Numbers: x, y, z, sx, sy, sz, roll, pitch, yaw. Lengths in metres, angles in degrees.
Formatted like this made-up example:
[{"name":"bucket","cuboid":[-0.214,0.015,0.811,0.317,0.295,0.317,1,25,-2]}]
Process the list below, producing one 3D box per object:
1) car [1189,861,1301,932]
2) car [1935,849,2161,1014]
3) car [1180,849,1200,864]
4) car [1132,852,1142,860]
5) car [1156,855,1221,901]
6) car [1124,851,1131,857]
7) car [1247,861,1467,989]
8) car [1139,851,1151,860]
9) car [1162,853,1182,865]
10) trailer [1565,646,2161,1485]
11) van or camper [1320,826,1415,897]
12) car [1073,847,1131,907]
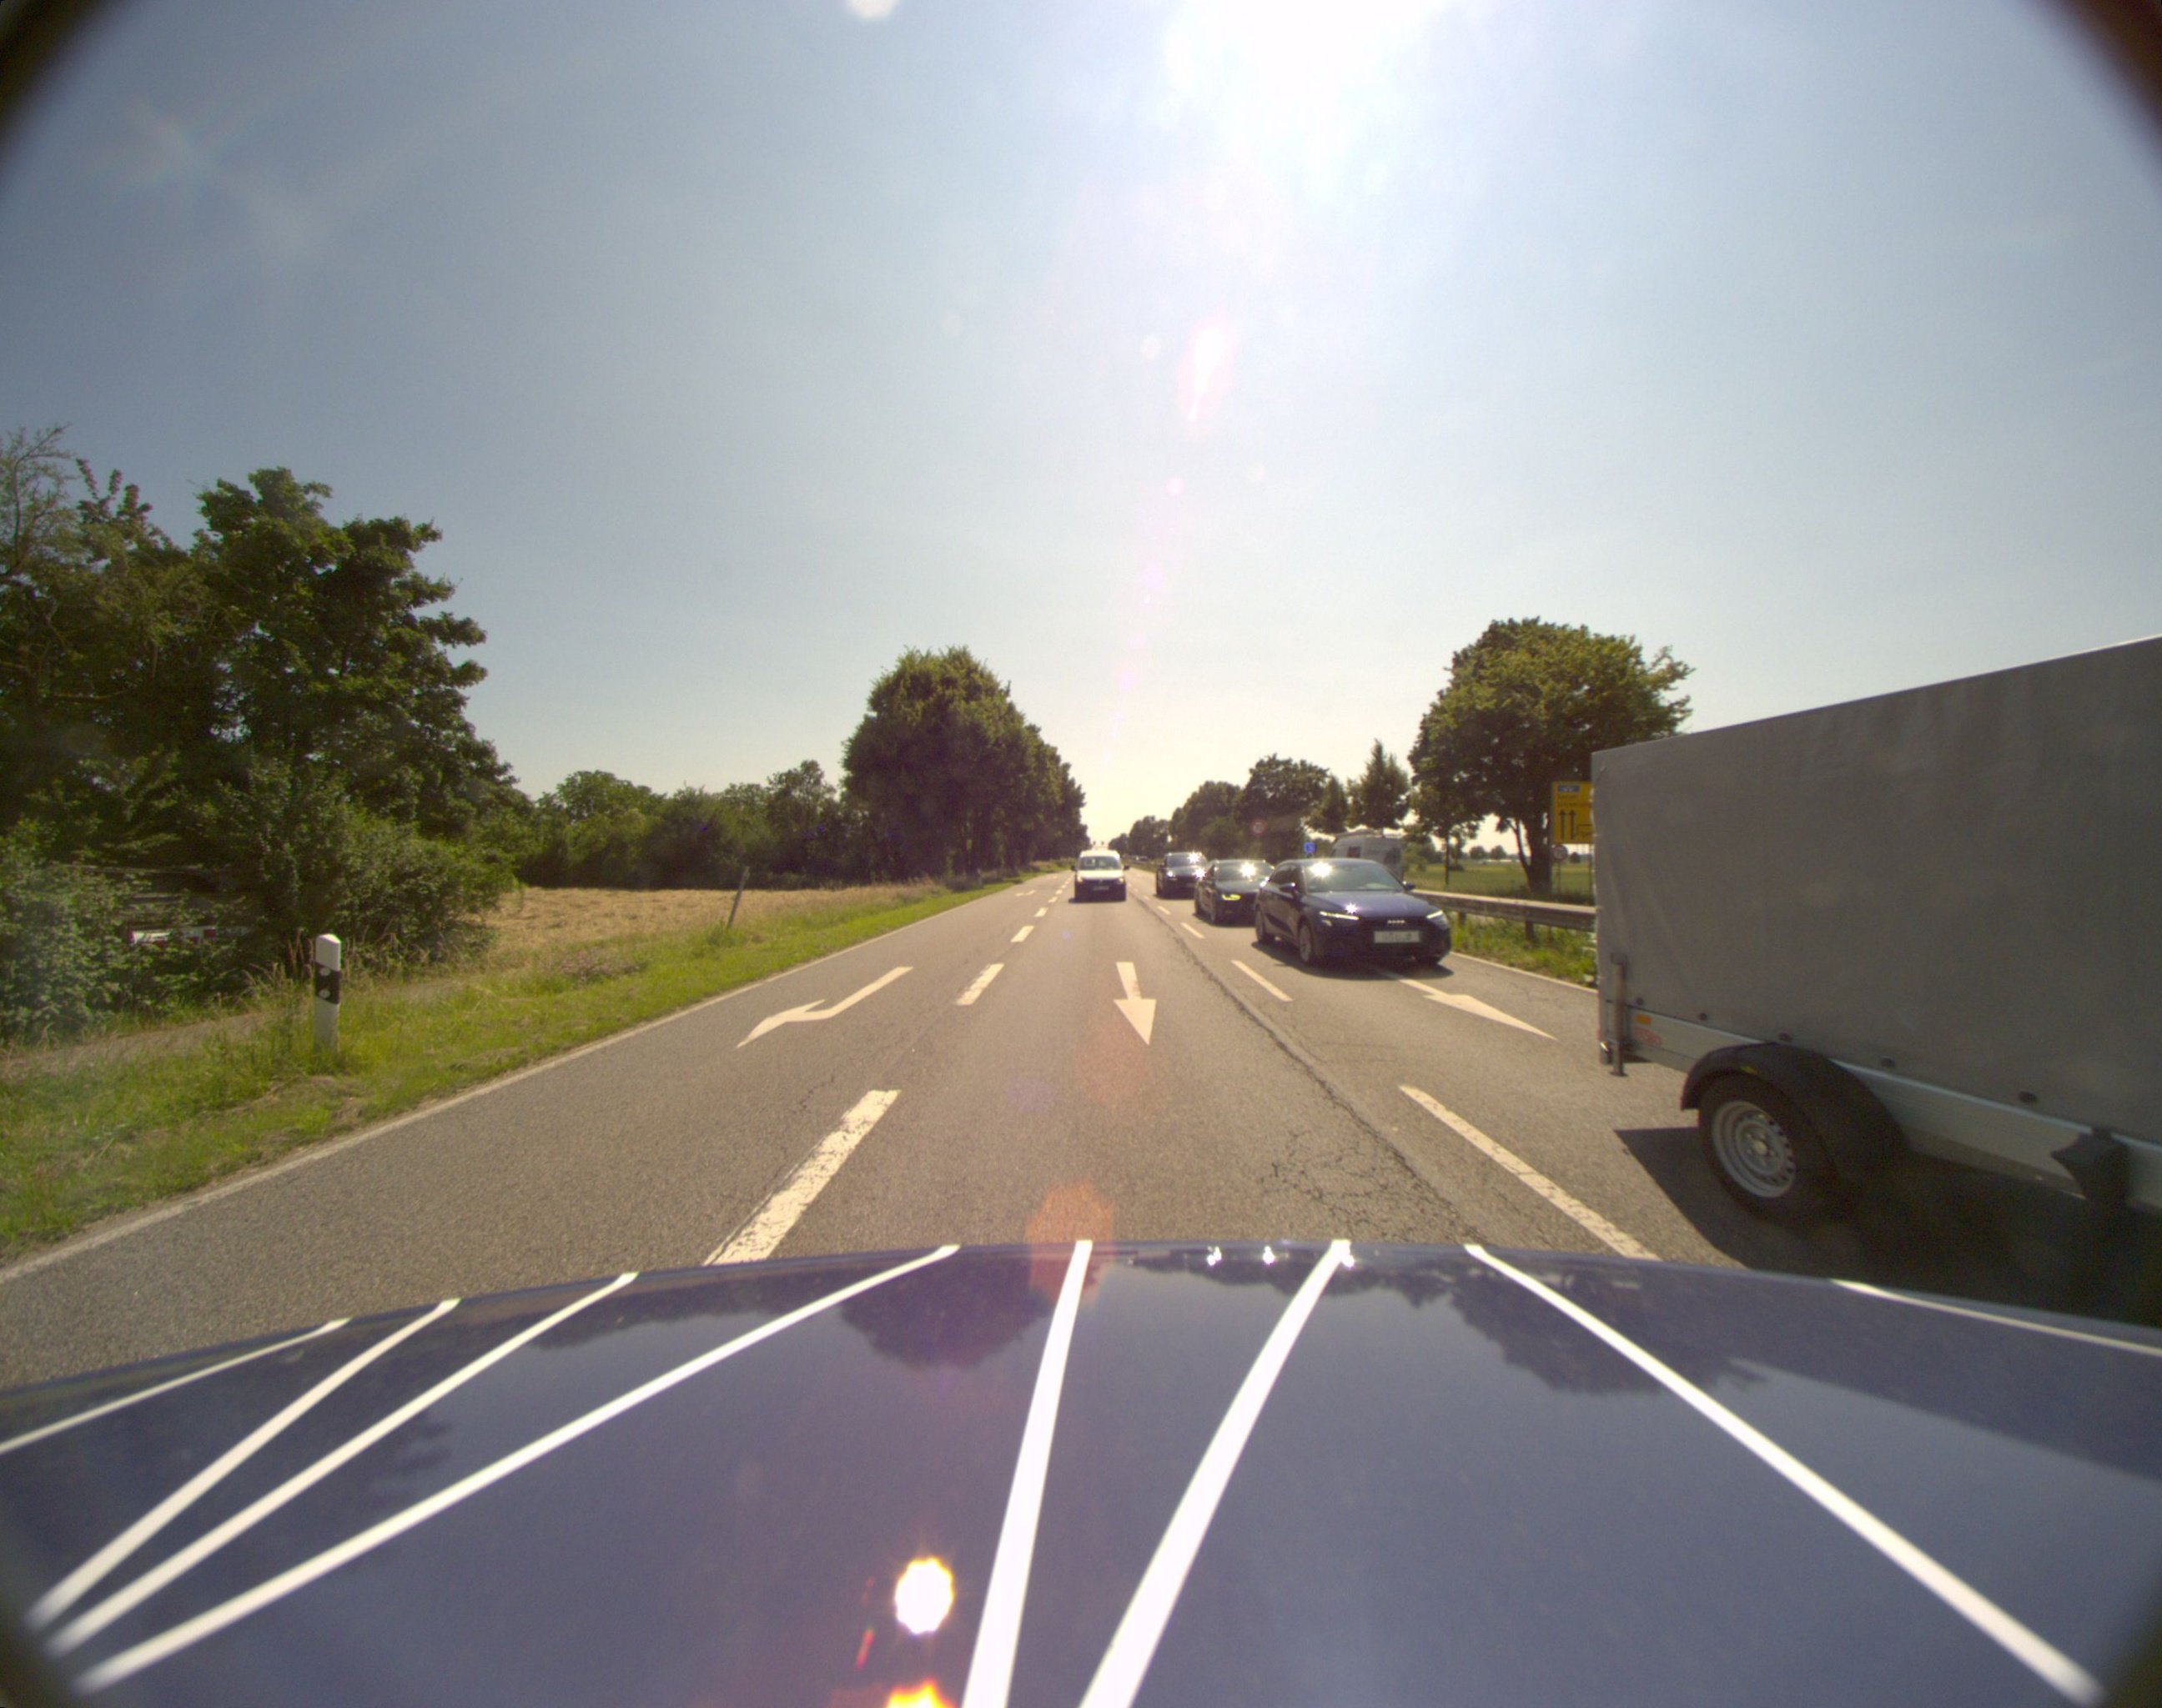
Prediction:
[{"name":"car","cuboid":[3.717,0.900,17.976,1.744,1.372,4.455,-2,0,1]},{"name":"car","cuboid":[13.036,0.864,8.406,1.862,1.845,4.696,0,0,-1]},{"name":"car","cuboid":[14.868,0.379,103.896,1.998,1.940,4.830,1,0,0]},{"name":"car","cuboid":[12.244,0.364,166.591,1.998,1.653,4.480,0,0,0]},{"name":"car","cuboid":[3.850,0.808,27.810,1.860,1.507,4.100,-1,0,2]},{"name":"car","cuboid":[15.984,-0.061,261.279,2.043,2.002,4.532,0,0,0]},{"name":"car","cuboid":[3.754,0.867,11.134,1.721,1.456,4.029,-1,0,0]},{"name":"car","cuboid":[11.817,0.334,140.438,1.998,1.594,4.480,0,0,0]},{"name":"car","cuboid":[11.078,0.573,92.819,1.884,1.446,4.504,0,0,0]},{"name":"trailer","cuboid":[3.523,0.535,2.263,1.504,2.160,4.174,-1,0,0]},{"name":"van or camper","cuboid":[13.311,0.347,35.813,2.269,3.081,5.695,0,0,-1]},{"name":"car","cuboid":[0.706,0.730,26.469,1.777,1.863,4.581,-2,0,1]}]
